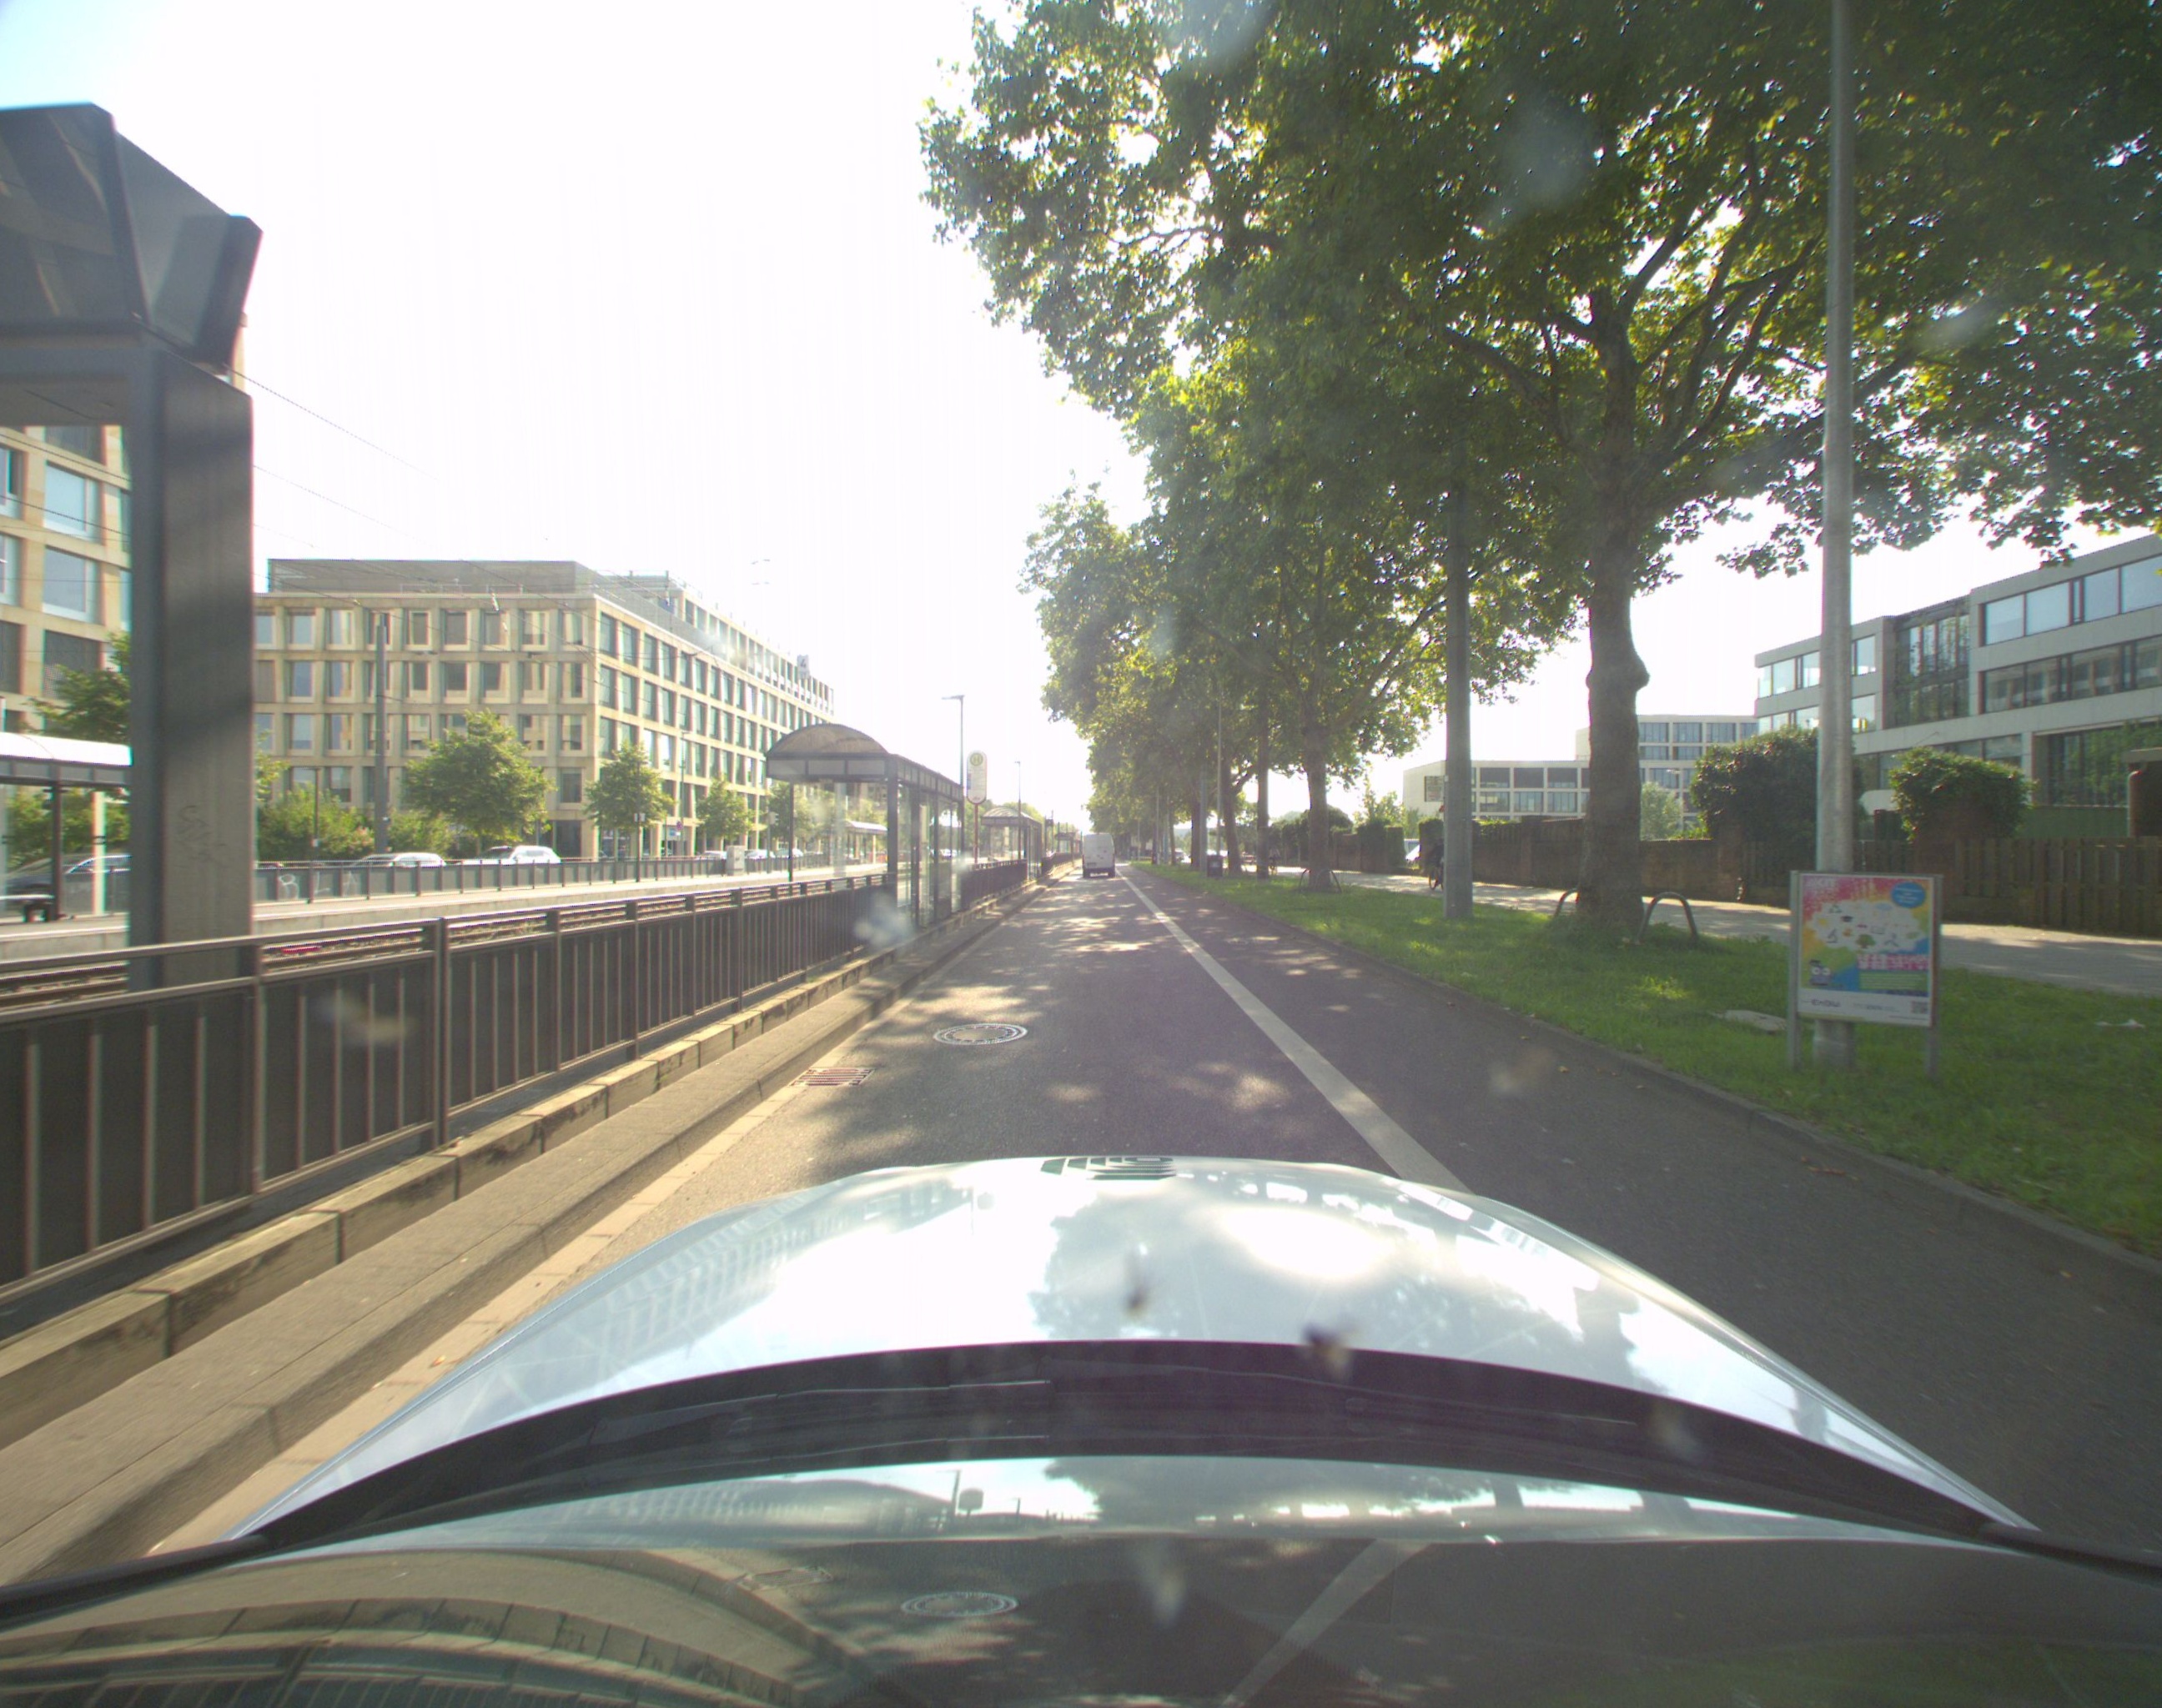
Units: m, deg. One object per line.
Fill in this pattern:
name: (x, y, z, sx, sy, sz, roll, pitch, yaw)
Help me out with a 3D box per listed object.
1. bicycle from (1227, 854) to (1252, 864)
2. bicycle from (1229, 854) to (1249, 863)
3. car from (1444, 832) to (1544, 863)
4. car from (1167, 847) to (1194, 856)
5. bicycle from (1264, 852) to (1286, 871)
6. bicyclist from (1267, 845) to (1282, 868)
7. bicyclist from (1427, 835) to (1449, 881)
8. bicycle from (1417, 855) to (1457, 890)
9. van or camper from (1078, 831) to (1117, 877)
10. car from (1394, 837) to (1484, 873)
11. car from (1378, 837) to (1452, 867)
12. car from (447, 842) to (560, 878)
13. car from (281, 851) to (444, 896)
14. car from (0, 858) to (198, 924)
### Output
bicycle: (14.725, 0.475, 75.630, 2.172, 0.847, 0.503, -1, 0, 1)
bicycle: (15.244, 0.439, 78.583, 1.925, 0.847, 0.372, -1, 0, 1)
car: (19.397, -0.318, 38.319, 3.976, 1.403, 1.503, -1, 0, -2)
car: (15.702, -0.419, 128.830, 3.973, 1.376, 2.000, 1, -1, 0)
bicycle: (10.924, 0.415, 45.946, 0.679, 1.005, 2.218, -1, 0, 0)
bicyclist: (10.932, 0.141, 45.994, 0.667, 1.276, 0.728, -1, 0, 0)
bicyclist: (11.902, 0.133, 27.193, 0.468, 1.539, 0.596, 0, 0, -2)
bicycle: (11.911, 0.599, 27.296, 0.490, 1.089, 1.856, 0, 0, -2)
van or camper: (0.952, 0.000, 50.419, 2.110, 2.682, 5.246, -1, 0, -2)
car: (19.550, 0.055, 44.555, 4.261, 1.892, 1.560, -1, 0, -2)
car: (20.670, -0.126, 50.491, 3.990, 1.842, 1.560, -1, 0, -2)
car: (-24.512, 0.228, 34.767, 1.678, 1.407, 4.370, 0, 0, 0)
car: (-24.444, 0.603, 27.944, 1.678, 1.407, 4.373, 0, 0, 0)
car: (-24.863, 0.840, 19.939, 1.678, 1.407, 4.373, 0, 0, 0)
